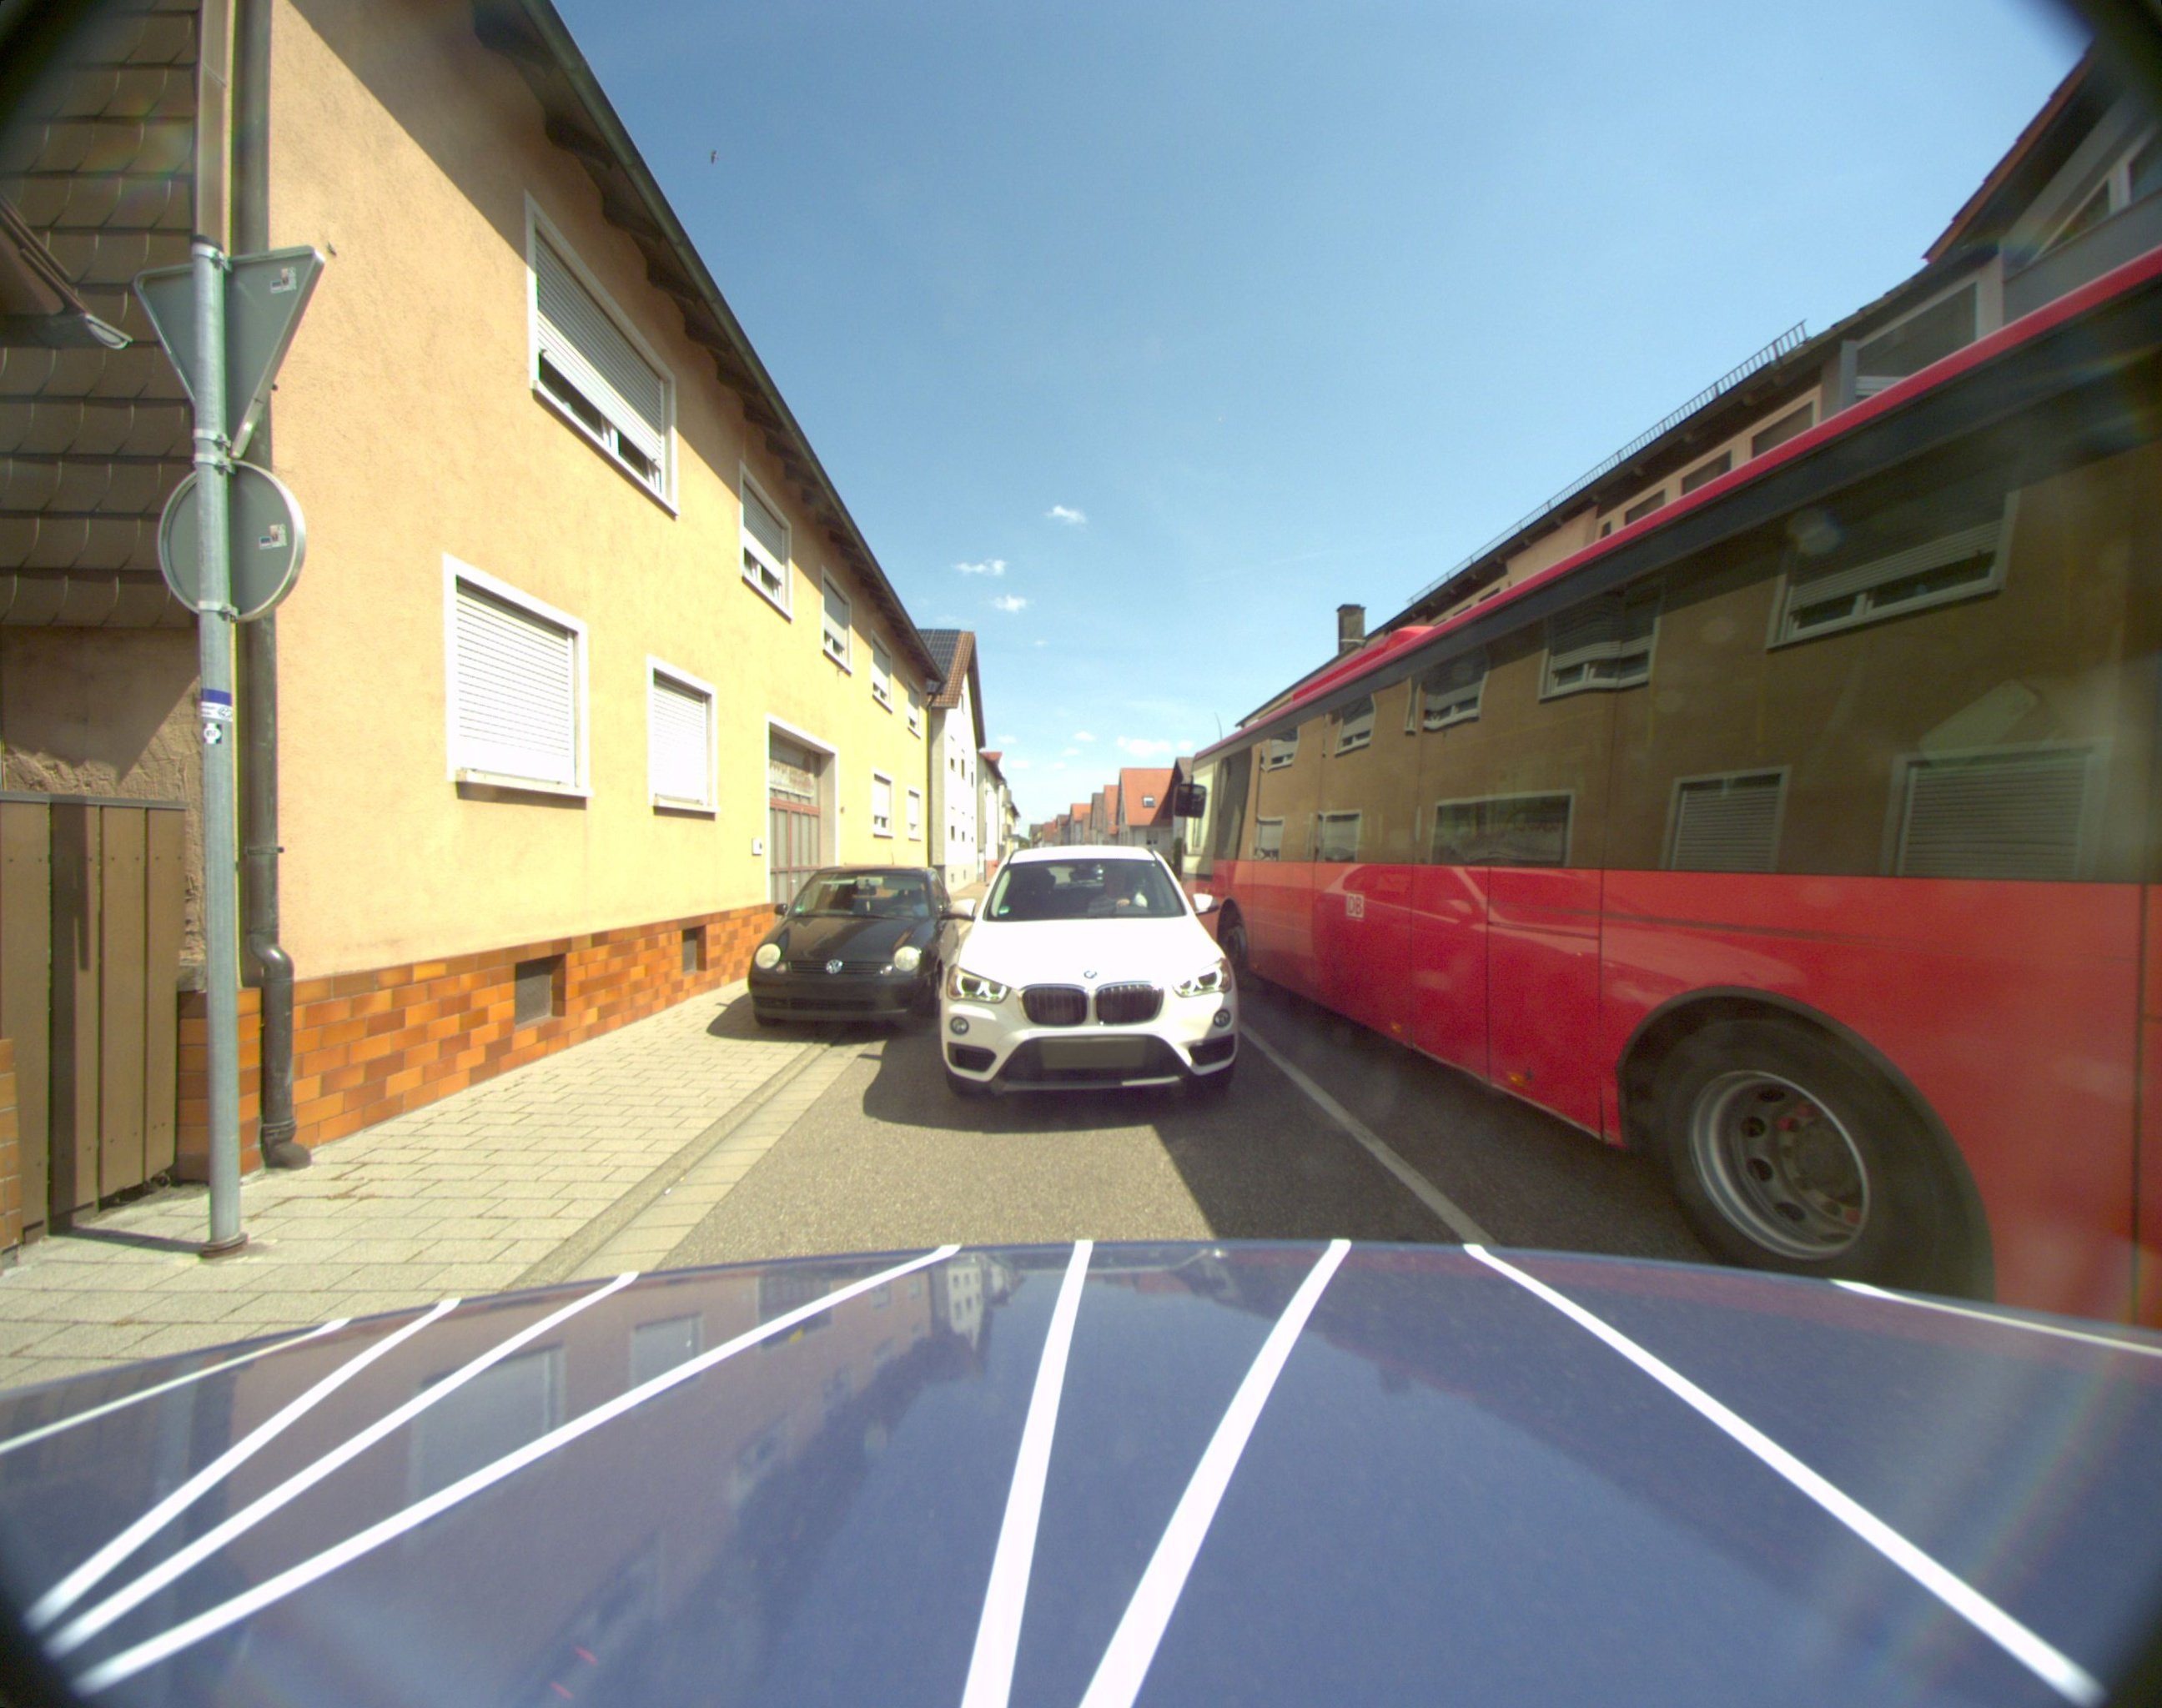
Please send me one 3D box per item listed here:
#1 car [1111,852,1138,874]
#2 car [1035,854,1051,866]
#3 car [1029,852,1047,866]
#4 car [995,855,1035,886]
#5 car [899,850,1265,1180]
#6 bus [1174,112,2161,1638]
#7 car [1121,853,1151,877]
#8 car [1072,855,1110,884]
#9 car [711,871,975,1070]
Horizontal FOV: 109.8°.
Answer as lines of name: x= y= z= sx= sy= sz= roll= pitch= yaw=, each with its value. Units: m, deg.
car: x=2.920 y=0.589 z=51.456 sx=1.442 sy=1.362 sz=3.383 roll=-3 pitch=1 yaw=-3
car: x=-4.791 y=0.717 z=95.874 sx=1.765 sy=1.420 sz=4.187 roll=0 pitch=0 yaw=-6
car: x=-4.372 y=0.491 z=77.280 sx=1.765 sy=1.420 sz=4.188 roll=0 pitch=0 yaw=-3
car: x=-3.151 y=0.763 z=36.724 sx=1.765 sy=1.420 sz=4.188 roll=0 pitch=0 yaw=-3
car: x=-0.062 y=0.834 z=6.146 sx=1.845 sy=1.636 sz=4.373 roll=-2 pitch=0 yaw=-2
bus: x=3.263 y=0.029 z=5.349 sx=2.634 sy=3.213 sz=12.016 roll=1 pitch=0 yaw=-5
car: x=3.355 y=0.655 z=47.083 sx=1.458 sy=1.362 sz=3.383 roll=-3 pitch=1 yaw=-1
car: x=0.480 y=0.785 z=40.339 sx=1.765 sy=1.389 sz=3.869 roll=1 pitch=0 yaw=-2
car: x=-2.124 y=0.966 z=7.807 sx=1.690 sy=1.454 sz=3.628 roll=2 pitch=0 yaw=-3
